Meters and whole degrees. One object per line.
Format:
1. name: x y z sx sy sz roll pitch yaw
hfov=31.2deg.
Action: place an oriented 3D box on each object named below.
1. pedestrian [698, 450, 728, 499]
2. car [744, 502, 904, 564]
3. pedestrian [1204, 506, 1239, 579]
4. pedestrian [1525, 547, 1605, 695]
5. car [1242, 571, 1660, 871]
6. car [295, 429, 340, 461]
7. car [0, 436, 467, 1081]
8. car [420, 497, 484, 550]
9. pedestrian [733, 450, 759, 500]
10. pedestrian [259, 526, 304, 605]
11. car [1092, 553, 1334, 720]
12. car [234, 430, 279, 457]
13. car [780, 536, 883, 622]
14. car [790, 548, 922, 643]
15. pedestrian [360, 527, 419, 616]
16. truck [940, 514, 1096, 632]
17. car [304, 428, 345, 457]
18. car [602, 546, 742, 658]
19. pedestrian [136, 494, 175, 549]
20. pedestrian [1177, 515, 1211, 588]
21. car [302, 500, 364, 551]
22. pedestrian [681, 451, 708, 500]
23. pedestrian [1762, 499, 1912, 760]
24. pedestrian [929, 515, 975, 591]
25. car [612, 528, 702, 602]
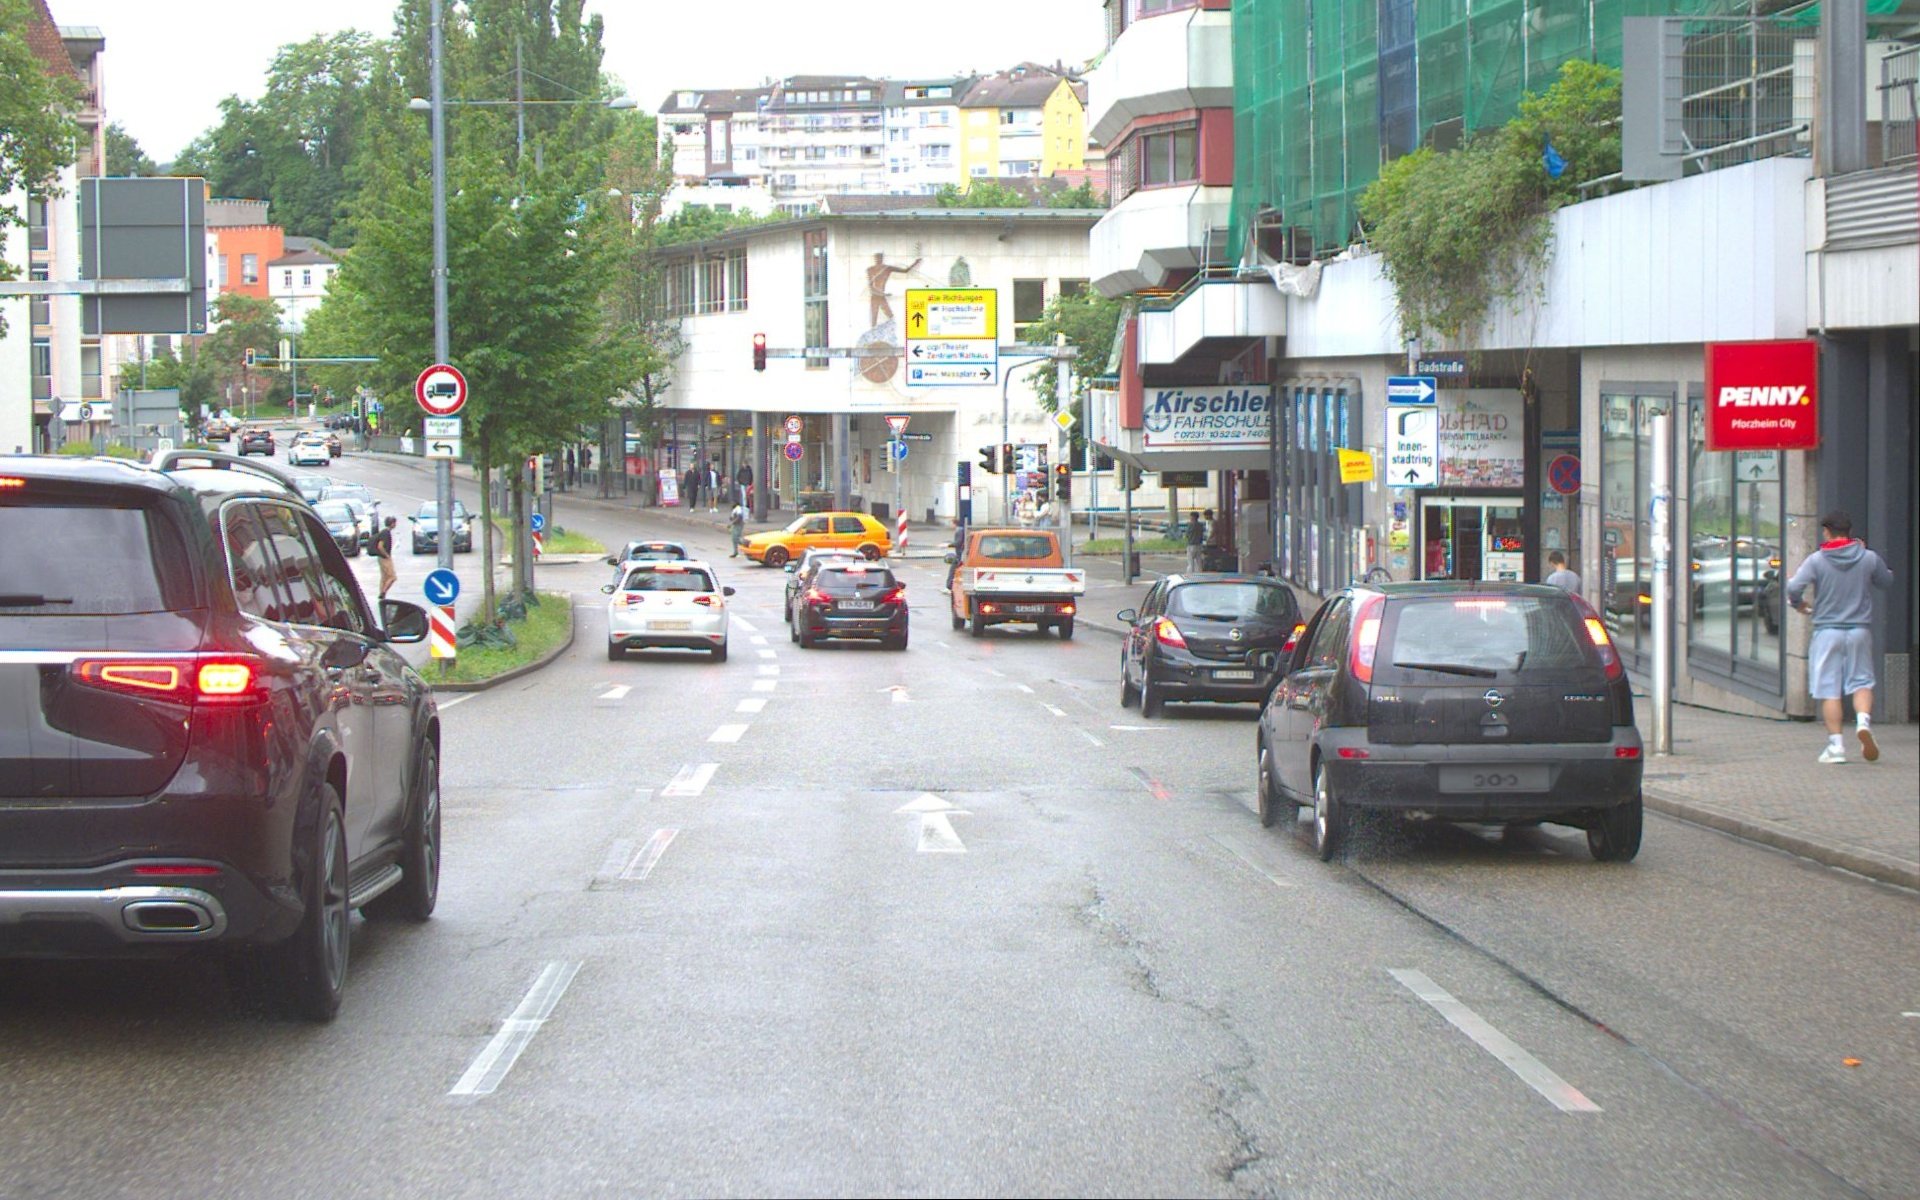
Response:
1. pedestrian: -9.147 -4.645 127.373 0.846 1.796 1.056 -2 1 -17
2. car: -3.631 -1.789 91.622 3.995 1.611 1.775 0 1 -13
3. pedestrian: 6.176 -1.359 81.100 0.575 1.694 0.651 -2 1 -17
4. pedestrian: 6.840 0.241 38.855 0.642 1.644 0.561 -2 0 39
5. car: 2.539 0.573 18.574 1.717 1.415 3.770 0 1 0
6. car: -34.177 -8.220 182.887 1.993 1.590 4.001 -1 1 -16
7. car: -3.049 0.382 12.116 2.087 1.811 4.793 2 1 -2
8. car: -14.952 -2.257 101.321 1.819 1.544 4.001 0 1 -8
9. pedestrian: -7.975 -4.651 128.058 0.702 1.796 0.939 -2 1 -17
10. pedestrian: -15.024 -0.778 76.144 0.835 1.716 0.819 -2 1 -3
11. car: 2.519 0.322 35.179 1.949 1.568 4.001 0 1 -3
12. car: -41.661 -9.253 203.491 1.748 1.549 3.570 -1 1 -26
13. car: -2.533 -0.438 67.014 1.760 1.537 4.001 0 2 -6
14. car: -1.780 -0.102 57.550 1.811 1.436 4.001 1 2 -7
15. pedestrian: -12.385 -0.622 74.639 1.063 1.875 0.838 -1 1 3
16. truck: 1.014 -0.551 63.633 2.183 2.075 5.604 0 1 -6
17. car: -36.860 -9.104 199.363 1.831 1.583 3.875 -1 1 -17
18. car: -4.249 -0.002 51.236 1.949 1.568 4.001 0 1 -3
19. pedestrian: -24.109 -2.358 102.987 0.923 1.602 0.563 -3 1 -44
20. pedestrian: 5.507 -1.153 80.981 0.575 1.694 0.651 -2 1 -13
21. car: -18.274 -2.169 100.183 1.706 1.446 3.862 -1 1 -10
22. pedestrian: -9.908 -4.657 128.279 0.798 1.796 0.918 -2 1 -17
23. pedestrian: 5.928 0.184 23.268 0.836 1.716 0.829 -1 1 6
24. pedestrian: -0.180 -1.078 79.233 1.010 1.716 0.838 -1 1 2
25. car: -6.307 -0.745 71.312 1.794 1.463 4.001 0 2 -6
